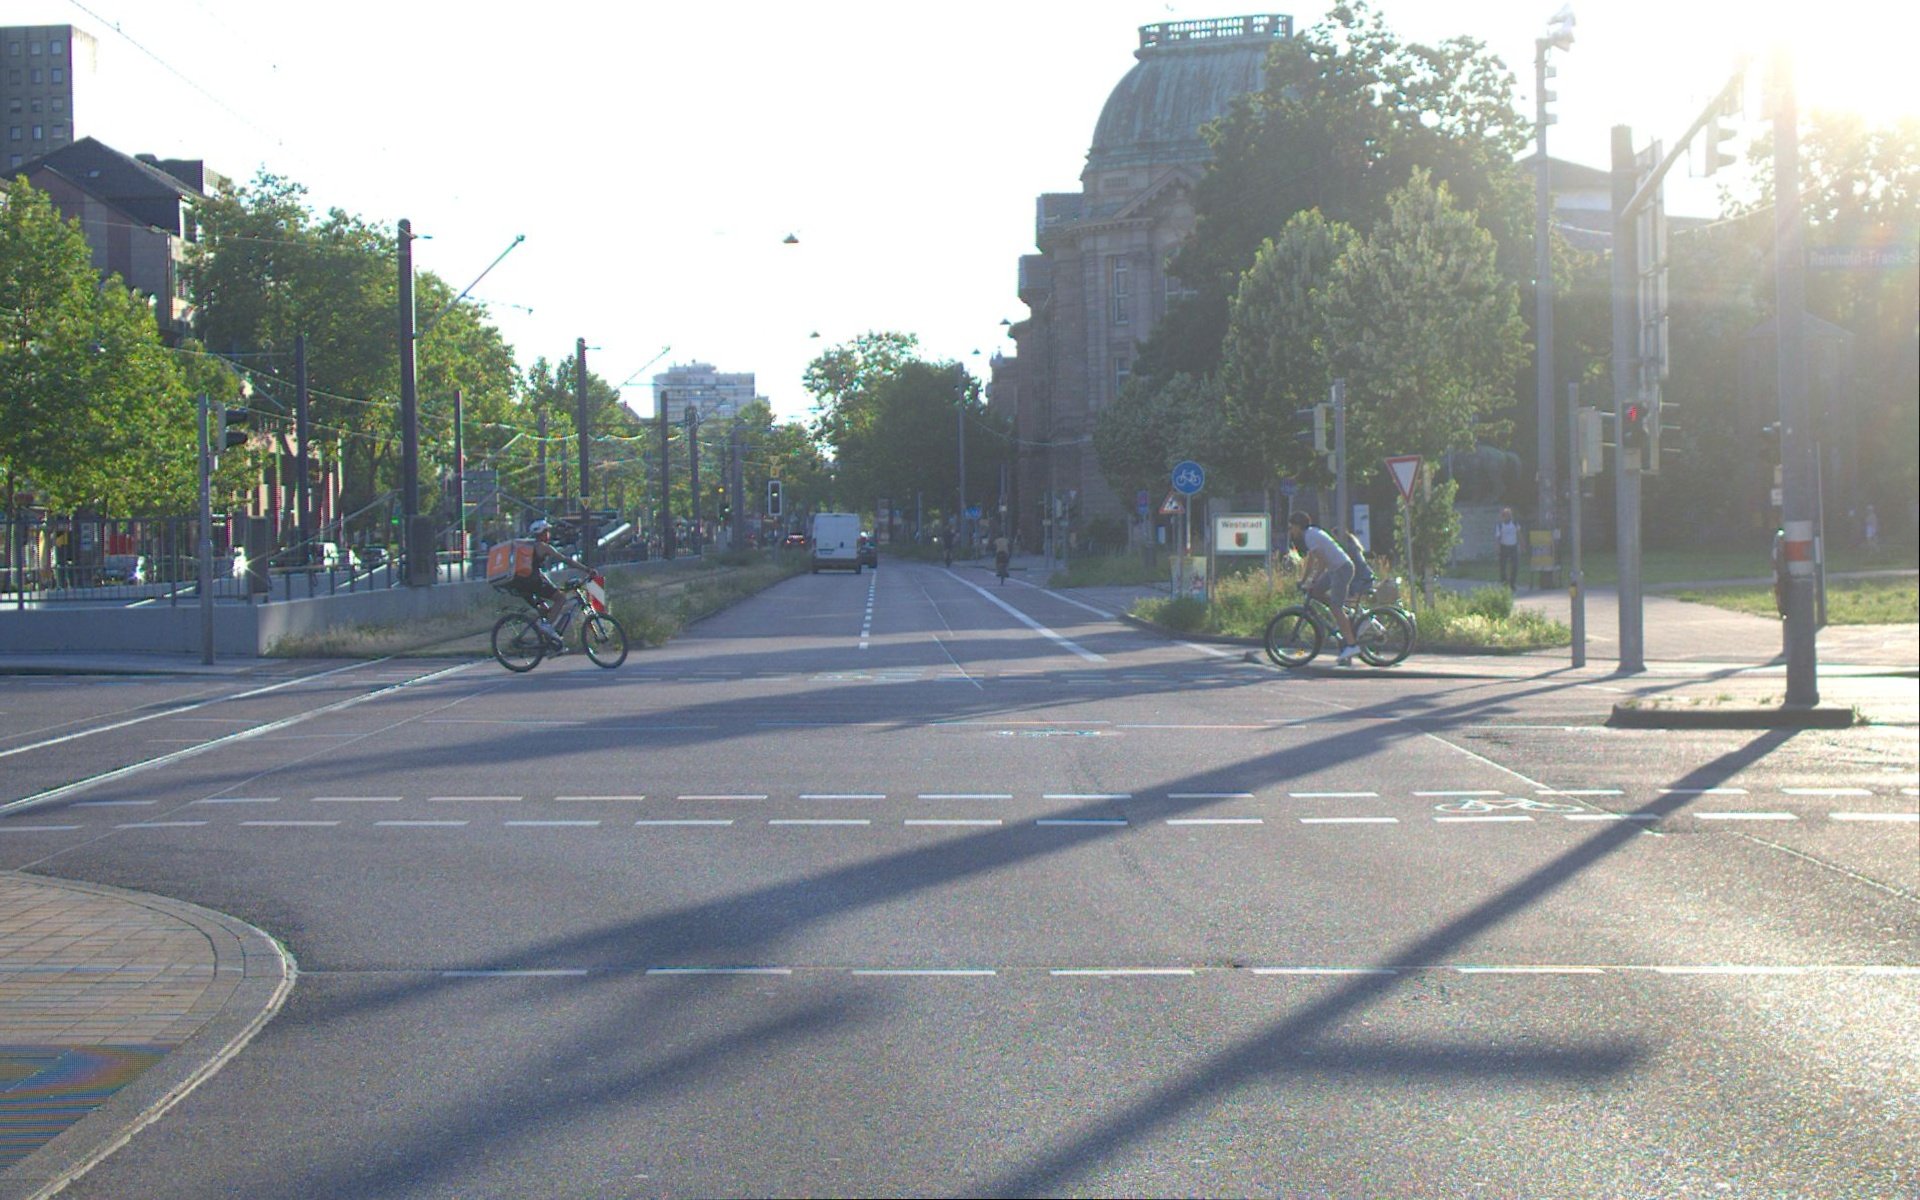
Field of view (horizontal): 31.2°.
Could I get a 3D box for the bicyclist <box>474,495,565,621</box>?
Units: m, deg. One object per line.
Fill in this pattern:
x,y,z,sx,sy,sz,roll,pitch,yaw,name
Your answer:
-5.112,-0.488,39.888,0.853,1.437,0.663,0,2,-27,bicyclist

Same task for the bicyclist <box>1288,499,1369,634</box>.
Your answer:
4.397,-0.409,41.049,0.797,1.566,0.663,-1,2,-7,bicyclist

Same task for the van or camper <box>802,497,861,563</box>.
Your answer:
-5.354,-2.935,143.470,2.263,2.616,4.503,-1,2,0,van or camper

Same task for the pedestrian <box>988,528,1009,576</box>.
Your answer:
1.218,-1.529,109.529,0.616,1.470,0.800,-1,2,3,pedestrian

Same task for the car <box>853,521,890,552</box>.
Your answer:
-4.353,-3.162,170.358,1.737,1.381,4.001,-1,2,-1,car

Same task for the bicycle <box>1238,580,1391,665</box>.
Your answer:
4.232,0.262,41.047,1.728,0.966,0.609,-1,2,-7,bicycle

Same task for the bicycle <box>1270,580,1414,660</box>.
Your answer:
4.787,0.246,43.120,1.718,0.966,0.609,0,2,-2,bicycle

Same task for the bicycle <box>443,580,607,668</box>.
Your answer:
-5.053,0.280,39.955,1.728,0.966,0.704,0,3,-28,bicycle

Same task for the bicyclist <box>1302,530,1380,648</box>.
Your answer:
4.773,-0.139,43.094,0.853,1.437,0.663,-1,2,-2,bicyclist

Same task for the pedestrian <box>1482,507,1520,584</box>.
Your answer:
11.541,-1.164,73.291,0.682,1.605,0.613,-1,2,-1,pedestrian

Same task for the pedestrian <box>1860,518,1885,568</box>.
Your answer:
31.359,-1.966,118.151,0.798,1.696,0.800,0,1,14,pedestrian
